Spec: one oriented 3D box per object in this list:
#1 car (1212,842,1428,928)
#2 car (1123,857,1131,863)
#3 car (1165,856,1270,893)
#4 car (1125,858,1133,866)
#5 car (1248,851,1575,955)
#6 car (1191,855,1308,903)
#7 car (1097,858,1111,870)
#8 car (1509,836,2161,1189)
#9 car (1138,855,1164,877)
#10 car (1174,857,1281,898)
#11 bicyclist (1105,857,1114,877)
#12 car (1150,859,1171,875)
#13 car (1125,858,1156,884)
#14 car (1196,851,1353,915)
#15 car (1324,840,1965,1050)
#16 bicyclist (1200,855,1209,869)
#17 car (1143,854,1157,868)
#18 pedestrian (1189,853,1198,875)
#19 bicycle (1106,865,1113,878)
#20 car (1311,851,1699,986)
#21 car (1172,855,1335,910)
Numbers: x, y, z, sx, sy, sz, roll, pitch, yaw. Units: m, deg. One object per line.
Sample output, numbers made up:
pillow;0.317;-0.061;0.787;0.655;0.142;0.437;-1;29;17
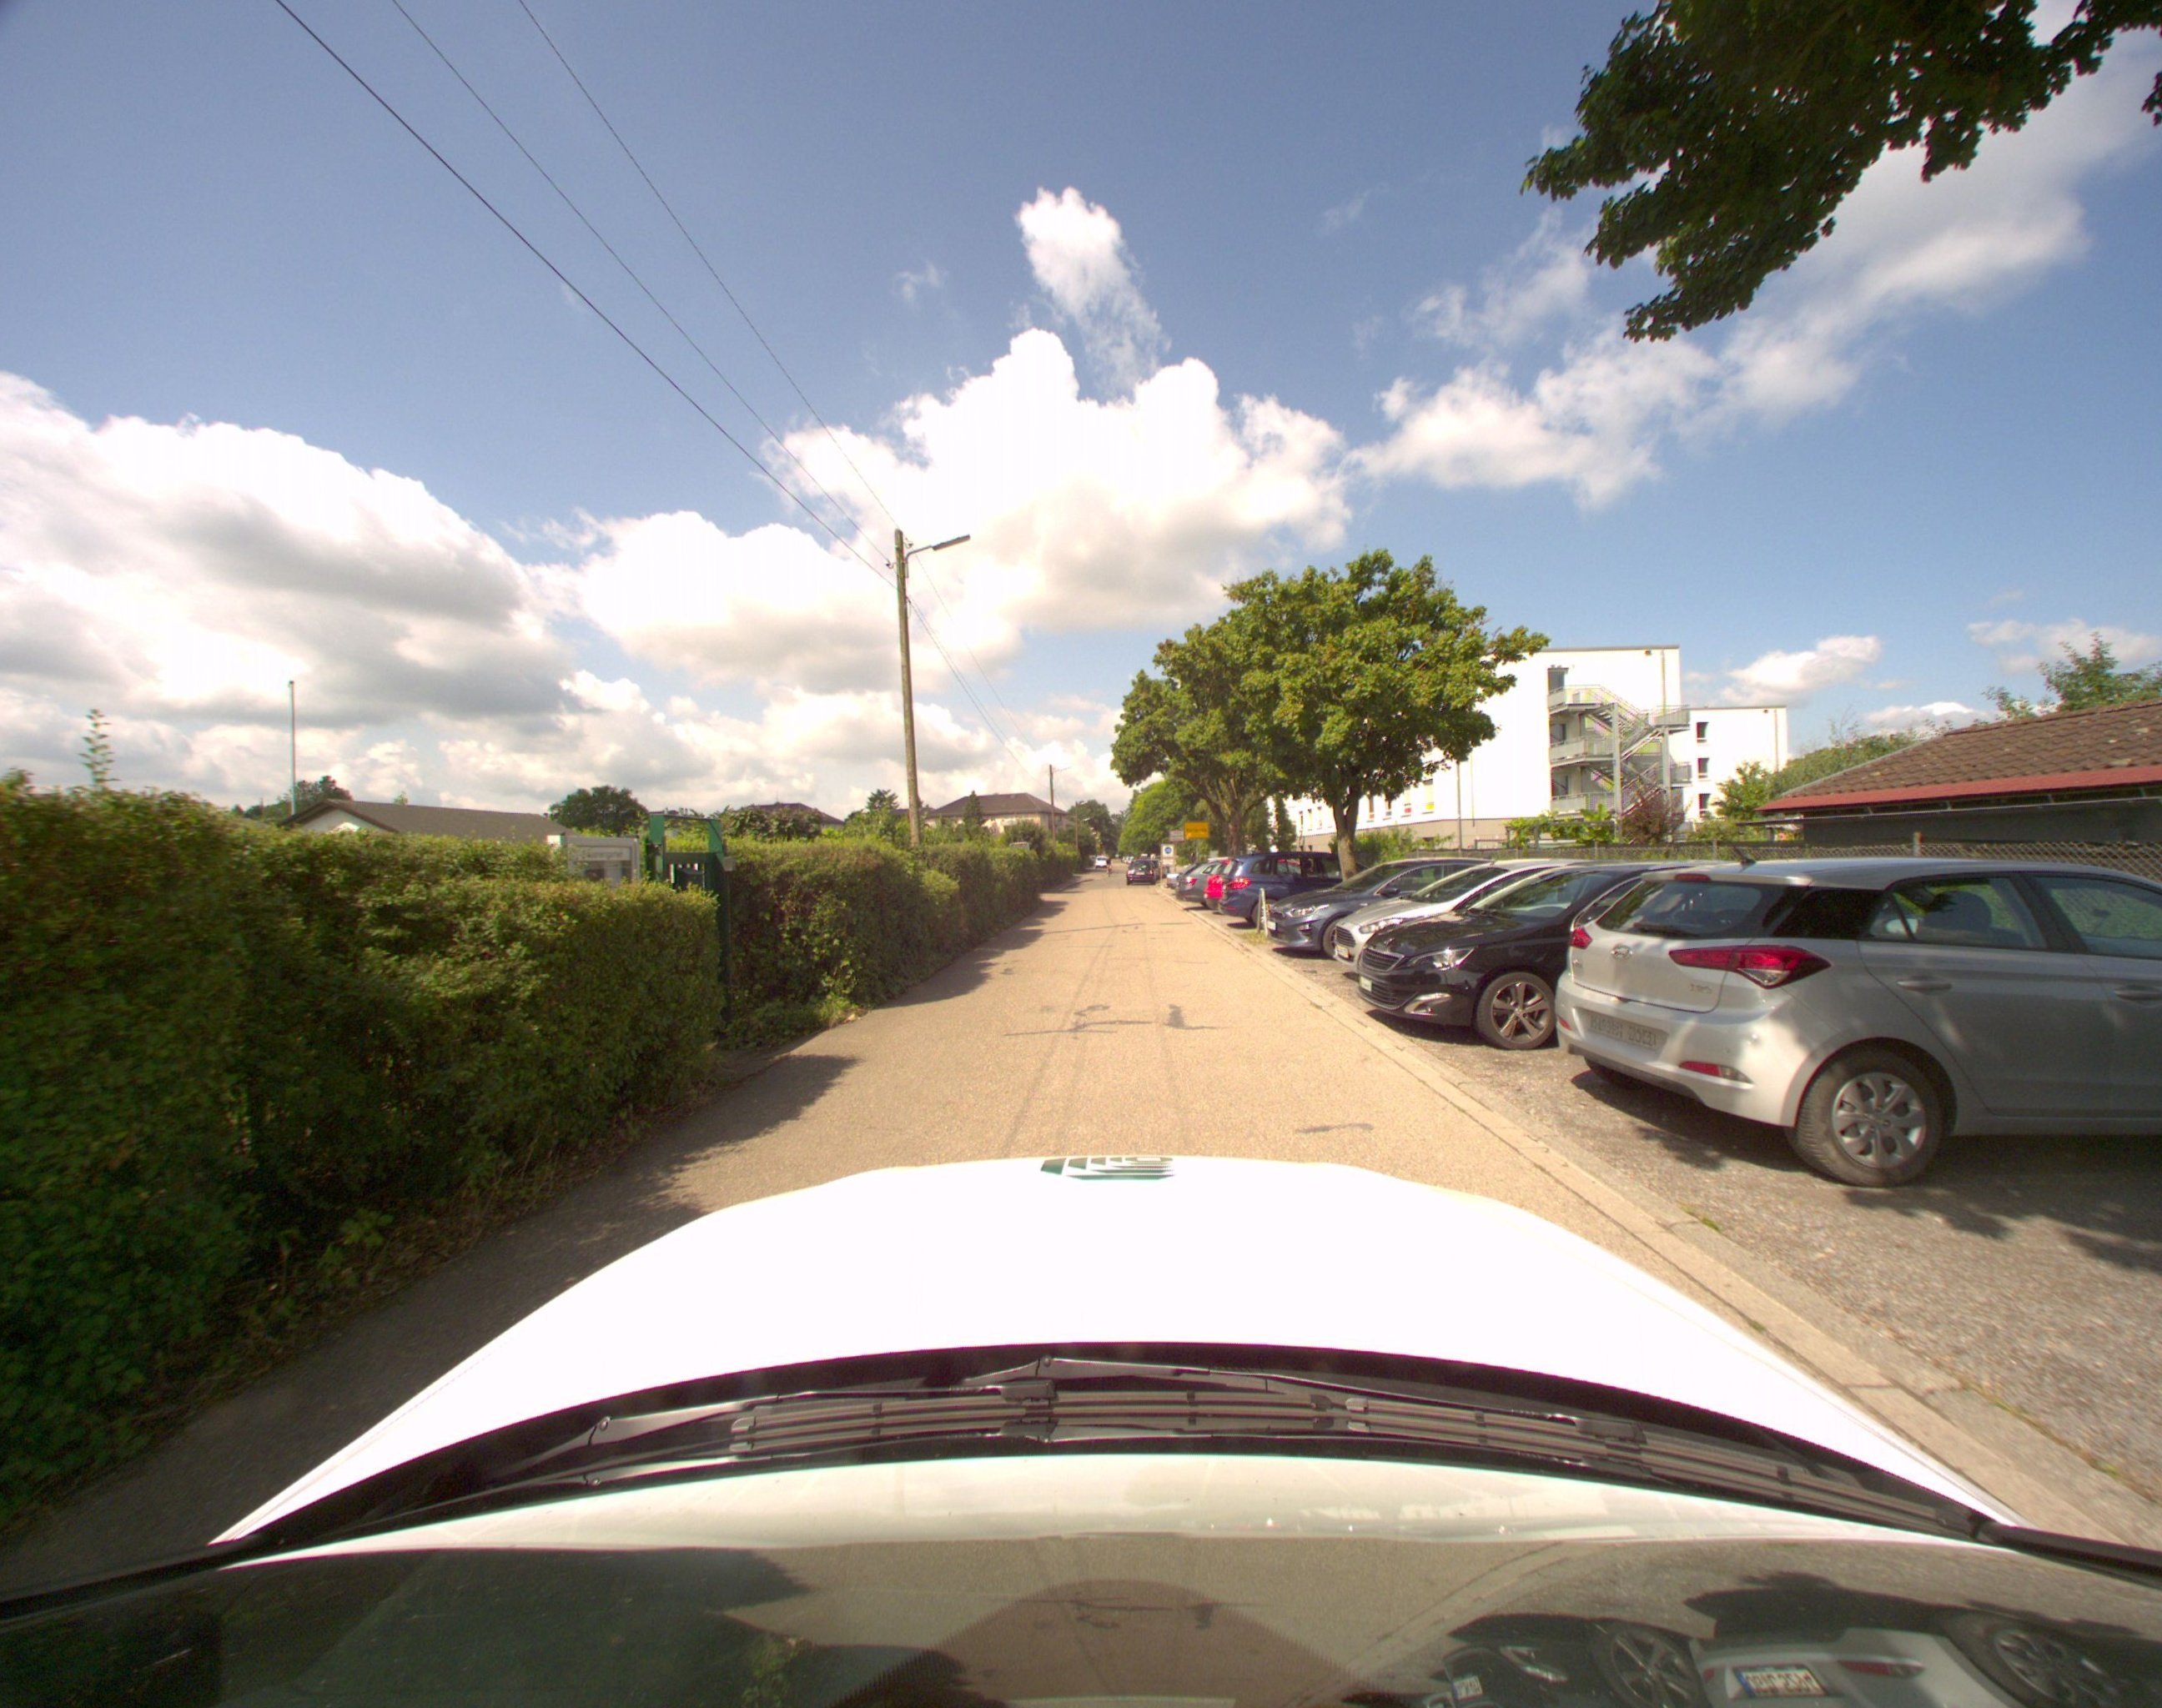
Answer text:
car;5.046;0.656;17.680;4.137;1.637;1.880;-2;-1;3
car;11.998;1.619;211.725;1.842;1.618;4.007;0;-1;7
car;5.864;0.874;35.350;4.336;1.392;1.721;-2;-1;6
car;11.601;1.917;196.970;1.986;2.014;4.001;0;-1;2
car;4.942;0.716;12.698;4.319;1.492;1.976;0;-1;1
car;5.605;0.820;27.321;3.563;1.549;1.666;0;-1;-1
car;3.350;1.432;117.813;1.894;1.814;4.005;0;-1;5
car;4.723;0.696;4.548;3.713;1.540;1.849;0;-1;-1
car;5.197;0.874;60.231;1.653;1.552;3.646;0;-1;9
car;5.725;0.917;32.242;3.920;1.559;1.868;0;-1;0
bicyclist;2.651;1.188;76.228;0.656;1.852;1.044;-3;-1;4
car;6.913;1.121;71.181;1.656;1.435;3.544;0;-1;3
car;3.633;0.993;49.179;1.654;1.506;4.008;0;-1;7
car;5.119;0.769;21.934;3.795;1.532;1.763;-2;-1;2
car;4.568;0.701;7.199;4.286;1.594;2.000;0;-1;1
bicyclist;15.879;1.044;104.720;0.777;1.785;0.900;-1;-1;34
car;10.128;1.045;119.826;2.048;1.926;4.546;0;-1;5
pedestrian;8.923;0.806;64.566;0.605;1.745;0.725;0;-1;15
bicycle;2.673;1.624;76.173;0.515;1.150;1.829;-3;-1;5
car;4.979;0.728;10.014;3.799;1.492;1.903;0;-1;1
car;5.063;0.839;24.346;4.533;1.578;1.809;0;-1;0
